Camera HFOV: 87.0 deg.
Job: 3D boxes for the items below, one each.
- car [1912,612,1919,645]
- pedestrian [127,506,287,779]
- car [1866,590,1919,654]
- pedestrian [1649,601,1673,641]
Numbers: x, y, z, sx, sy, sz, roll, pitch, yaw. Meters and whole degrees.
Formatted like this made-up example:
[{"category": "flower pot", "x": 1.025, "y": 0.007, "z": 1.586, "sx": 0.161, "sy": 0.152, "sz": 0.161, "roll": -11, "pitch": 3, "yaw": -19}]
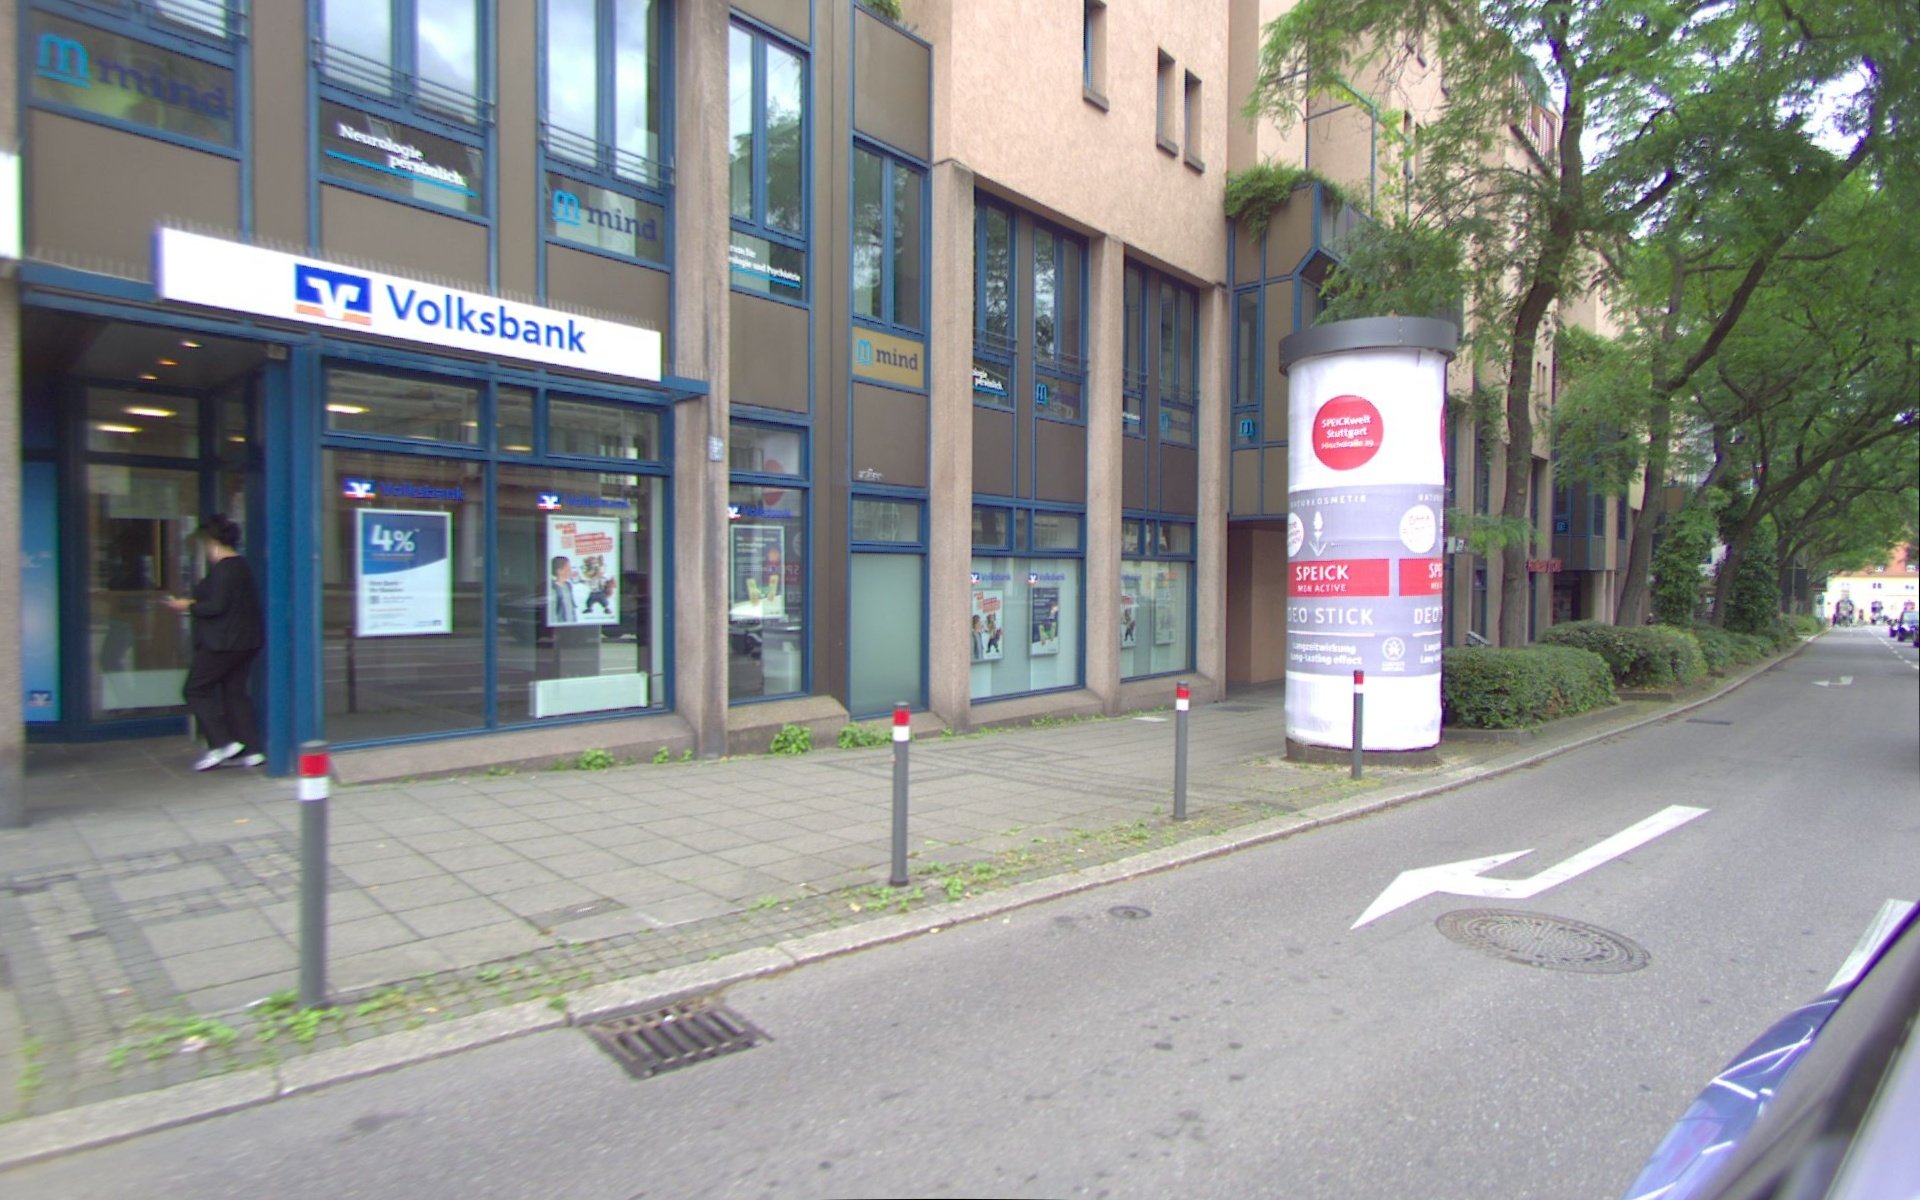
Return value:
[{"category": "car", "x": 47.650, "y": 1.360, "z": 49.045, "sx": 3.932, "sy": 1.550, "sz": 1.946, "roll": 0, "pitch": -1, "yaw": -43}, {"category": "pedestrian", "x": -5.211, "y": 0.267, "z": 7.003, "sx": 0.781, "sy": 1.743, "sz": 0.771, "roll": 1, "pitch": 0, "yaw": -43}, {"category": "car", "x": 34.984, "y": 0.772, "z": 36.640, "sx": 5.627, "sy": 2.184, "sz": 2.501, "roll": 0, "pitch": -1, "yaw": -40}, {"category": "pedestrian", "x": 30.634, "y": 0.915, "z": 44.212, "sx": 0.675, "sy": 1.733, "sz": 0.711, "roll": 2, "pitch": -1, "yaw": -41}]
